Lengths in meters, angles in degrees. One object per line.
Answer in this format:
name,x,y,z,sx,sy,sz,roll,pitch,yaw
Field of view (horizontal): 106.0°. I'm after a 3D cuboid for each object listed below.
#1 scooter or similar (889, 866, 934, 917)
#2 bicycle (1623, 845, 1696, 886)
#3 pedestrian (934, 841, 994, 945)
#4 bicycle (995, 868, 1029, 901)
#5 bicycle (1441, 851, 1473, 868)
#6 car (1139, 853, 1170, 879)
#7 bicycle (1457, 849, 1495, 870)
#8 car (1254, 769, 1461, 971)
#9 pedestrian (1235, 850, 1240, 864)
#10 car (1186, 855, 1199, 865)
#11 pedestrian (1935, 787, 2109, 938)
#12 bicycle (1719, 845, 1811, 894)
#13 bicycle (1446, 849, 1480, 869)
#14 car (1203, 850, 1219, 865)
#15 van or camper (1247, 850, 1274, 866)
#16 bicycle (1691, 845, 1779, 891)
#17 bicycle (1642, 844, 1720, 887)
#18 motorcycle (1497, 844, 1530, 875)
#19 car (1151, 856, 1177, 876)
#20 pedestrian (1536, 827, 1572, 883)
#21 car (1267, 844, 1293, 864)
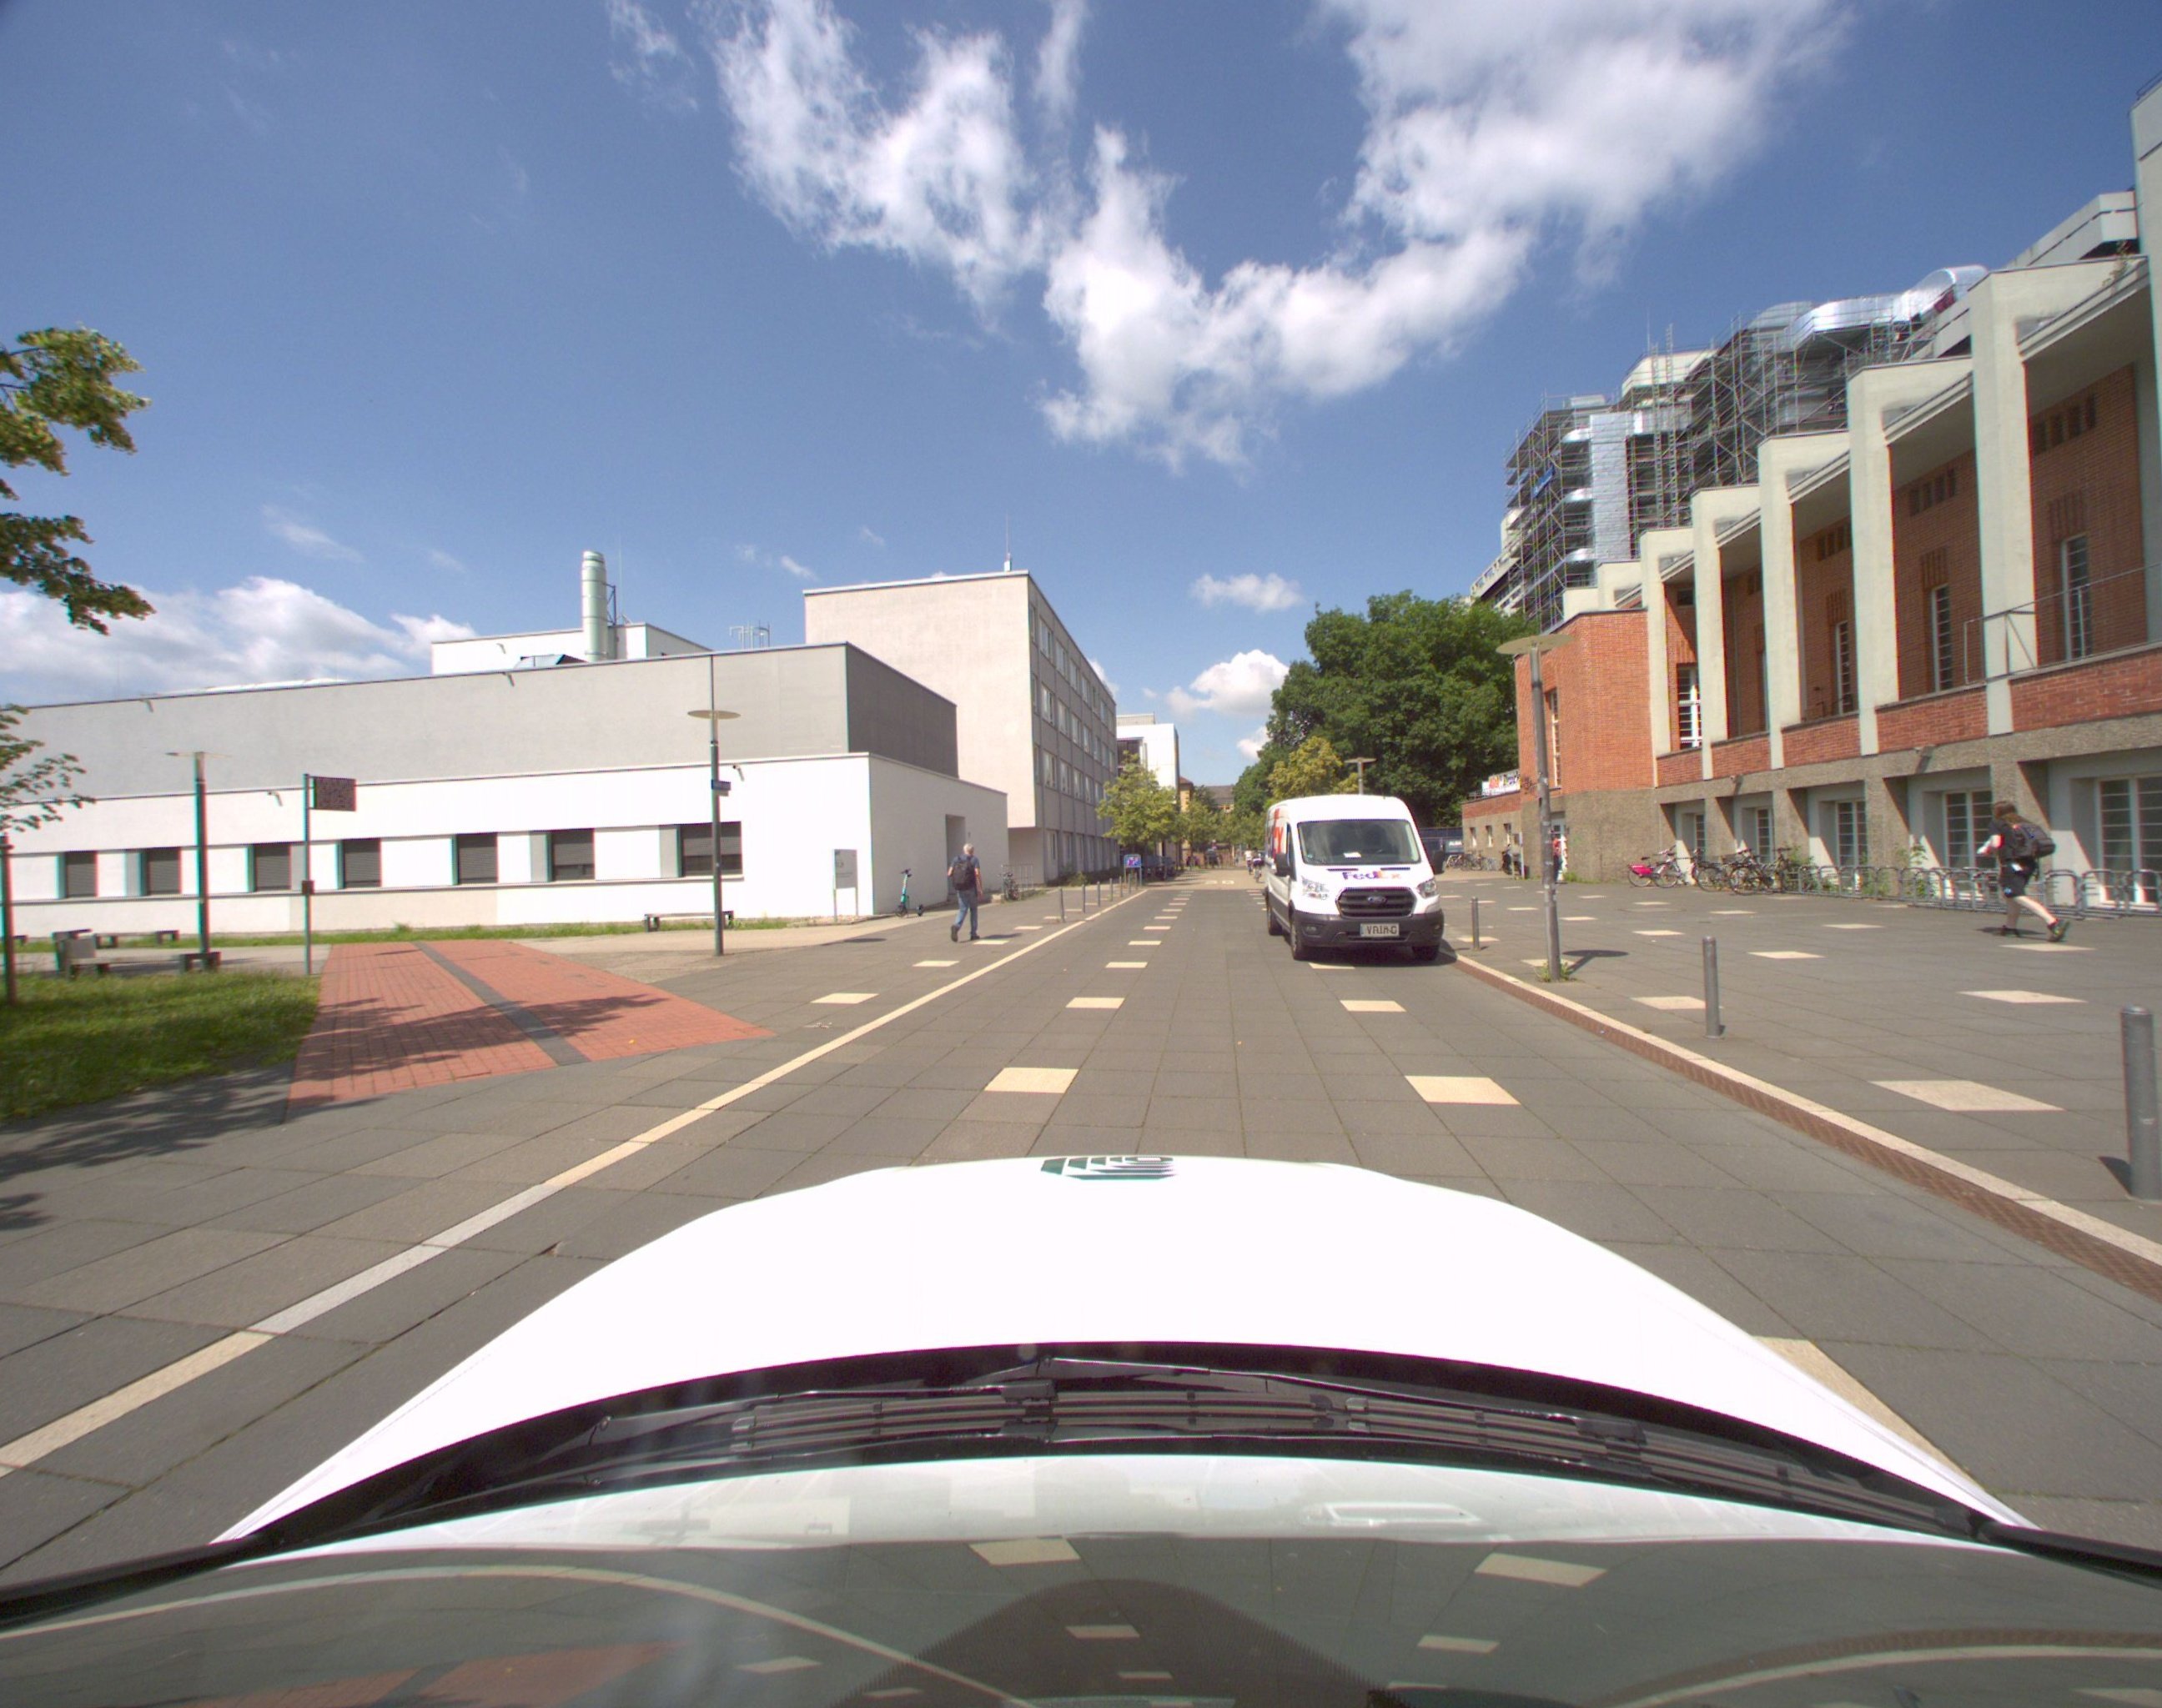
scooter or similar,-4.442,0.964,21.443,0.478,1.263,1.320,-2,0,22
bicycle,17.122,0.348,24.124,1.743,1.149,0.436,-2,-1,7
pedestrian,-2.140,0.687,15.010,0.819,1.817,1.146,-2,-1,4
bicycle,-2.394,1.037,28.505,0.539,1.061,1.906,-2,0,14
bicycle,22.665,0.327,49.117,1.661,1.003,0.449,-2,-1,9
car,4.747,0.761,52.246,1.687,1.564,4.077,-2,0,8
bicycle,21.717,0.293,44.788,1.795,1.109,0.449,-2,-1,9
car,4.176,0.212,13.433,2.048,2.543,5.862,-2,0,7
pedestrian,20.469,0.390,106.545,0.579,1.764,0.915,-2,-1,15
car,15.827,0.865,115.511,1.807,1.324,3.777,-2,-1,8
pedestrian,12.150,0.107,10.575,0.840,1.834,1.199,-2,-1,4
bicycle,16.214,0.366,19.325,1.673,1.110,0.436,-2,-1,7
bicycle,21.983,0.305,46.835,1.691,1.109,0.449,-2,-1,9
car,18.357,0.485,115.148,2.163,1.926,5.197,-2,-1,7
van or camper,23.386,0.495,105.970,1.935,1.923,5.454,-1,0,29
bicycle,16.666,0.361,20.778,1.737,1.110,0.436,-2,-1,7
bicycle,17.071,0.332,23.192,1.743,1.149,0.519,-2,-1,7
motorcycle,19.393,0.236,36.566,0.691,1.323,2.227,-2,0,12
car,6.212,0.867,60.496,1.768,1.461,4.268,-1,0,8
pedestrian,15.882,0.032,27.336,0.660,1.834,0.907,-2,-1,4
car,19.490,-0.013,79.639,1.833,1.891,4.914,-3,-1,19
